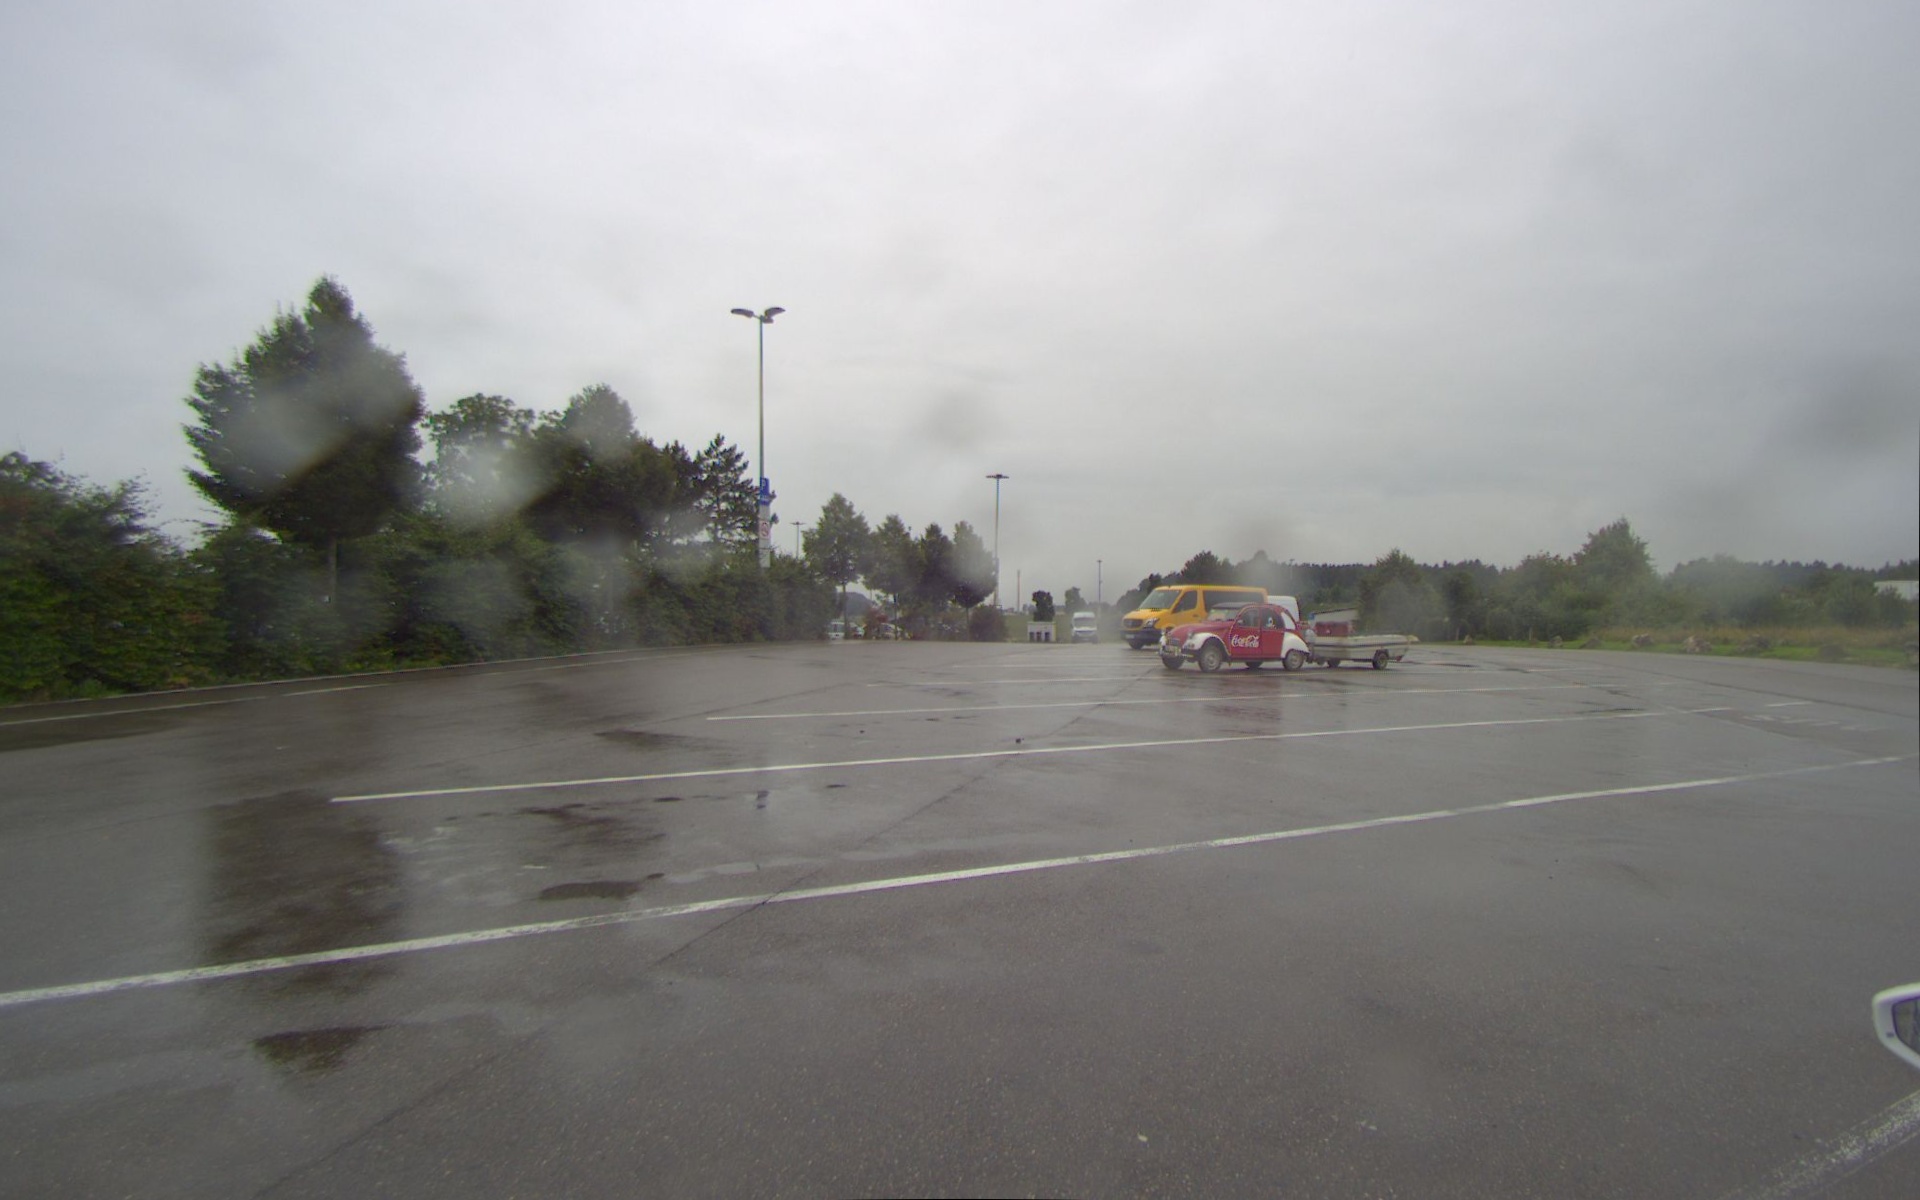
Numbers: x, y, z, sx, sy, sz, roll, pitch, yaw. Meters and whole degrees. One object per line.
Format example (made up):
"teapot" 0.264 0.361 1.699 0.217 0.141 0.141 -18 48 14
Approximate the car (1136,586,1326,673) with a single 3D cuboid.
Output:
"car" 6.111 0.665 22.642 3.948 1.801 1.816 1 -1 -27

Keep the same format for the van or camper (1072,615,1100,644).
"van or camper" 9.911 2.302 79.189 1.960 2.195 4.002 1 -1 3

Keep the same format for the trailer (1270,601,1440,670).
"trailer" 9.636 0.843 24.469 3.948 1.553 1.689 1 -1 -27

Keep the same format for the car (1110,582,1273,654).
"car" 8.353 0.712 36.060 5.955 2.411 1.985 2 -3 -30

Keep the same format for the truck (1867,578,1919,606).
"truck" 117.821 -0.993 126.056 2.693 3.437 8.068 1 1 17
